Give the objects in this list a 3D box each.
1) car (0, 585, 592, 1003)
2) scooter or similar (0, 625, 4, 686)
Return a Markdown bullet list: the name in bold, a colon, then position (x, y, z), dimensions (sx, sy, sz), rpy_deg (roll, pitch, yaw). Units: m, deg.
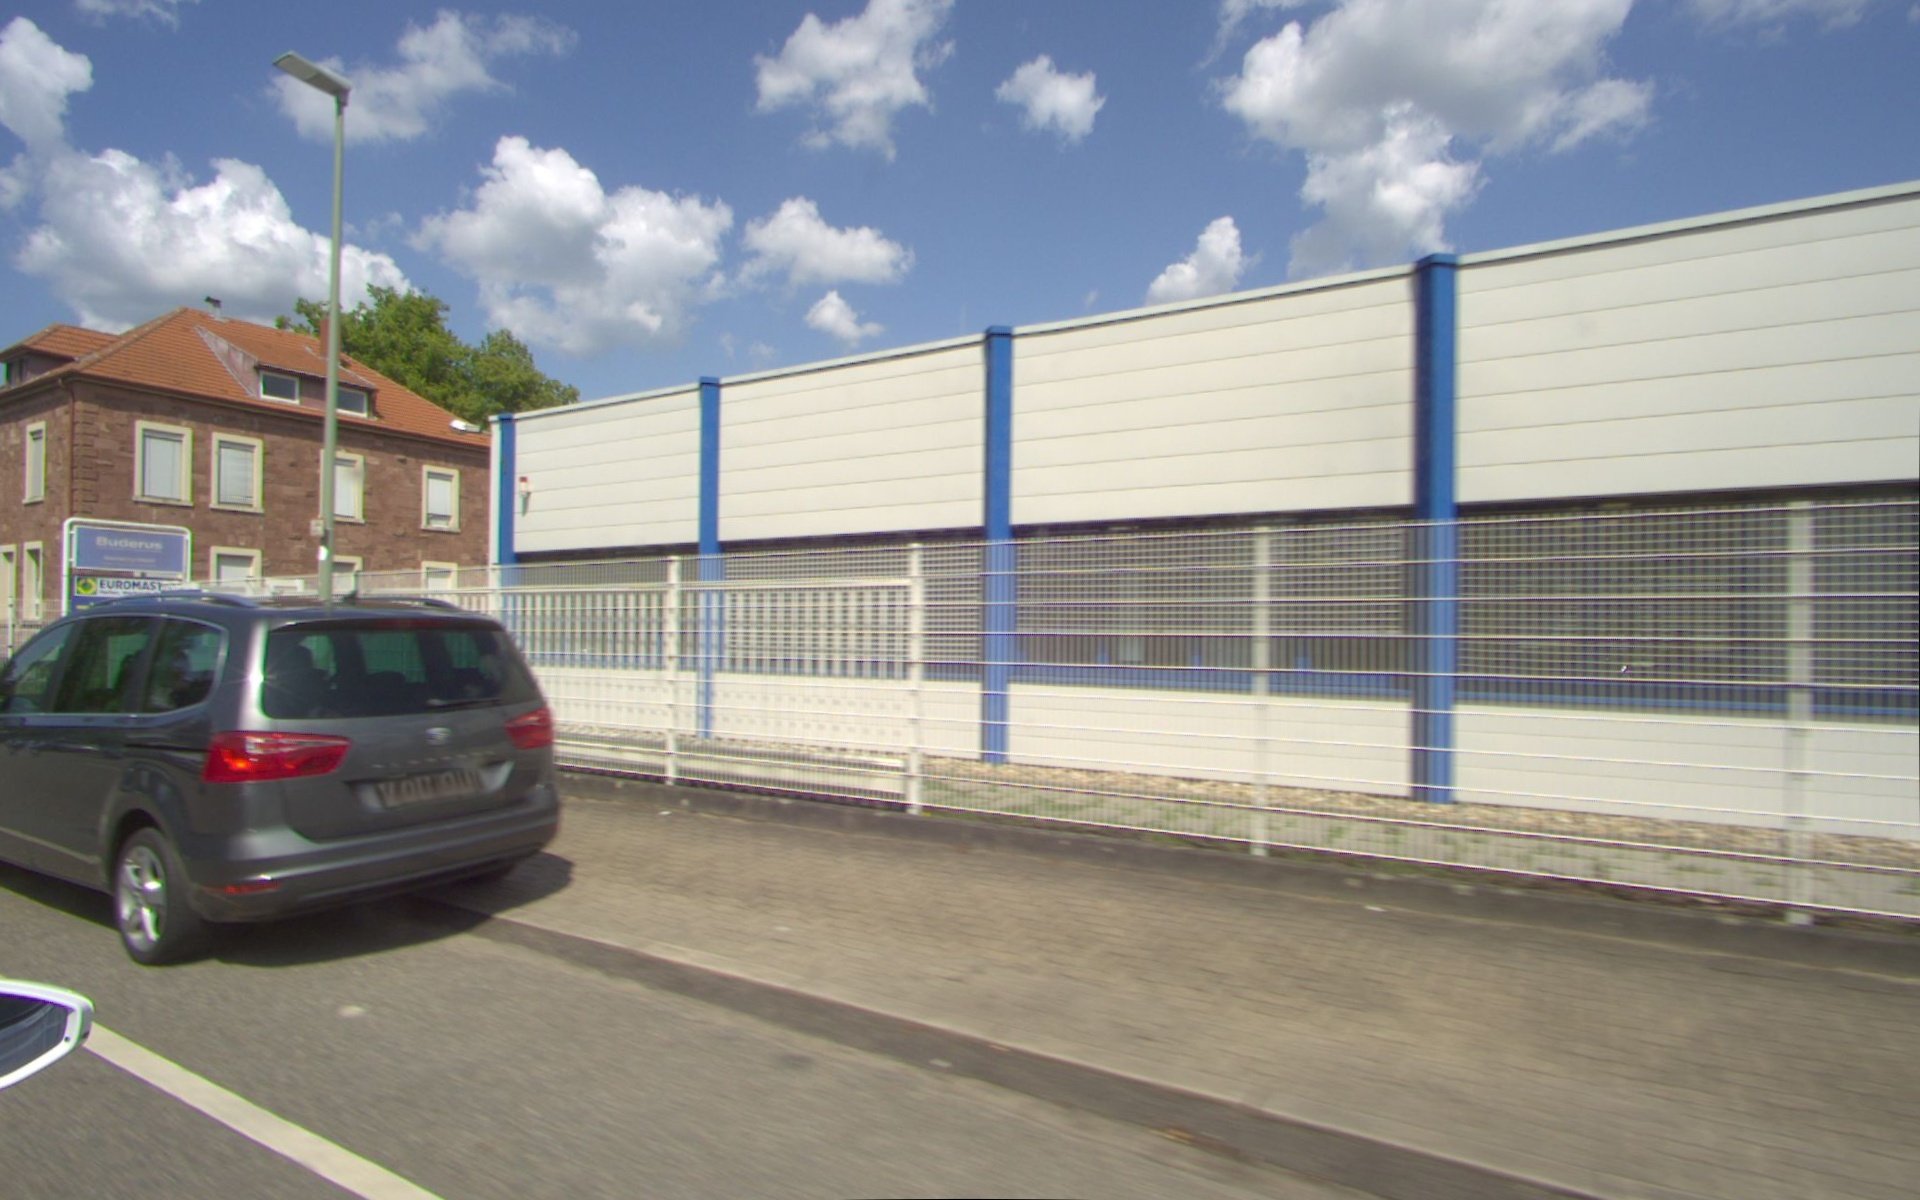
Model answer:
- **car**: position (-4.445, 0.811, 6.015), dimensions (4.489, 1.686, 1.822), rpy_deg (0, -1, 32)
- **scooter or similar**: position (-20.145, 1.126, 20.248), dimensions (1.137, 1.262, 0.257), rpy_deg (1, -1, -41)
